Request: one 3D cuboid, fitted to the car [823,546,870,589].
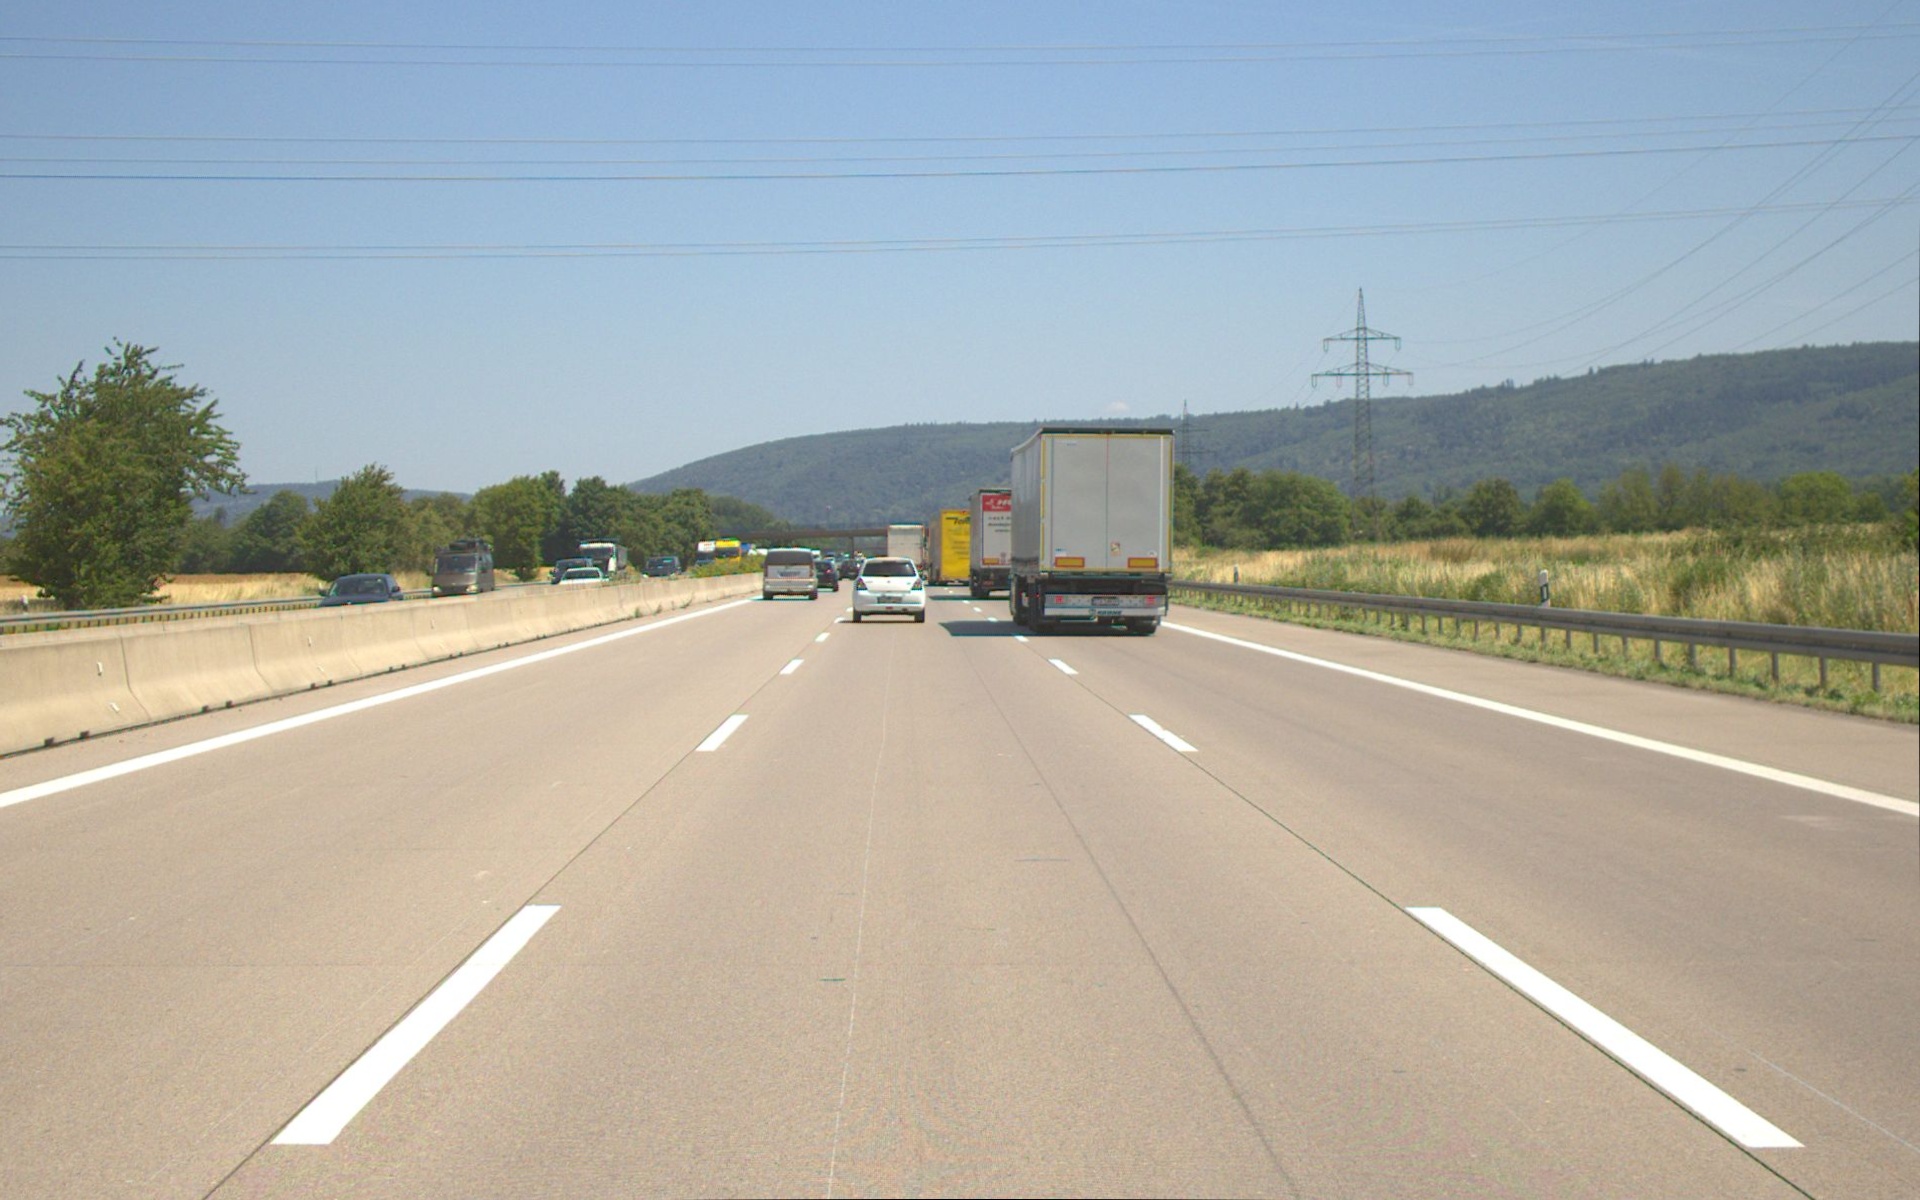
[{"bbox_3d":[-5.163,-1.489,156.764,1.993,1.950,4.000,1,1,-1],"label":"car"}]

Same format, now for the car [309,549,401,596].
[{"bbox_3d":[-14.315,-0.672,81.497,1.521,1.049,3.523,1,1,1],"label":"car"}]

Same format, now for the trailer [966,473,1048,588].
[{"bbox_3d":[1.689,-2.592,130.110,2.874,4.086,13.513,1,1,0],"label":"trailer"}]

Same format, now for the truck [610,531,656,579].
[{"bbox_3d":[-22.682,-3.146,238.691,2.806,3.293,5.614,1,1,-1],"label":"truck"}]

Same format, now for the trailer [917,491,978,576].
[{"bbox_3d":[-0.757,-3.654,191.574,3.216,4.548,13.457,1,1,-1],"label":"trailer"}]

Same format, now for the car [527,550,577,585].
[{"bbox_3d":[-21.388,-1.729,180.379,2.170,1.784,4.000,1,1,0],"label":"car"}]

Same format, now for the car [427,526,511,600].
[{"bbox_3d":[-19.025,-1.457,133.502,2.248,2.777,6.792,1,1,0],"label":"car"}]

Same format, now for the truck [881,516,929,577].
[{"bbox_3d":[-3.978,-3.867,247.441,3.353,4.257,8.229,1,1,-1],"label":"truck"}]

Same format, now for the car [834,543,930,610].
[{"bbox_3d":[-1.807,-0.570,80.957,2.107,1.530,4.122,1,1,0],"label":"car"}]

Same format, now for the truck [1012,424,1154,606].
[{"bbox_3d":[2.802,-1.945,79.777,2.984,4.048,5.478,1,1,-1],"label":"truck"}]

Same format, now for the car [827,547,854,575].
[{"bbox_3d":[-8.327,-2.717,239.293,1.783,1.875,4.000,1,1,-1],"label":"car"}]

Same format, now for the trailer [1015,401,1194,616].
[{"bbox_3d":[2.864,-1.839,72.413,3.018,4.047,14.208,1,1,0],"label":"trailer"}]

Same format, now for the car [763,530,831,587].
[{"bbox_3d":[-5.916,-1.508,125.186,2.254,2.007,4.298,1,1,0],"label":"car"}]

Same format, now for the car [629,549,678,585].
[{"bbox_3d":[-16.017,-1.731,179.784,1.993,1.820,5.825,1,1,0],"label":"car"}]
